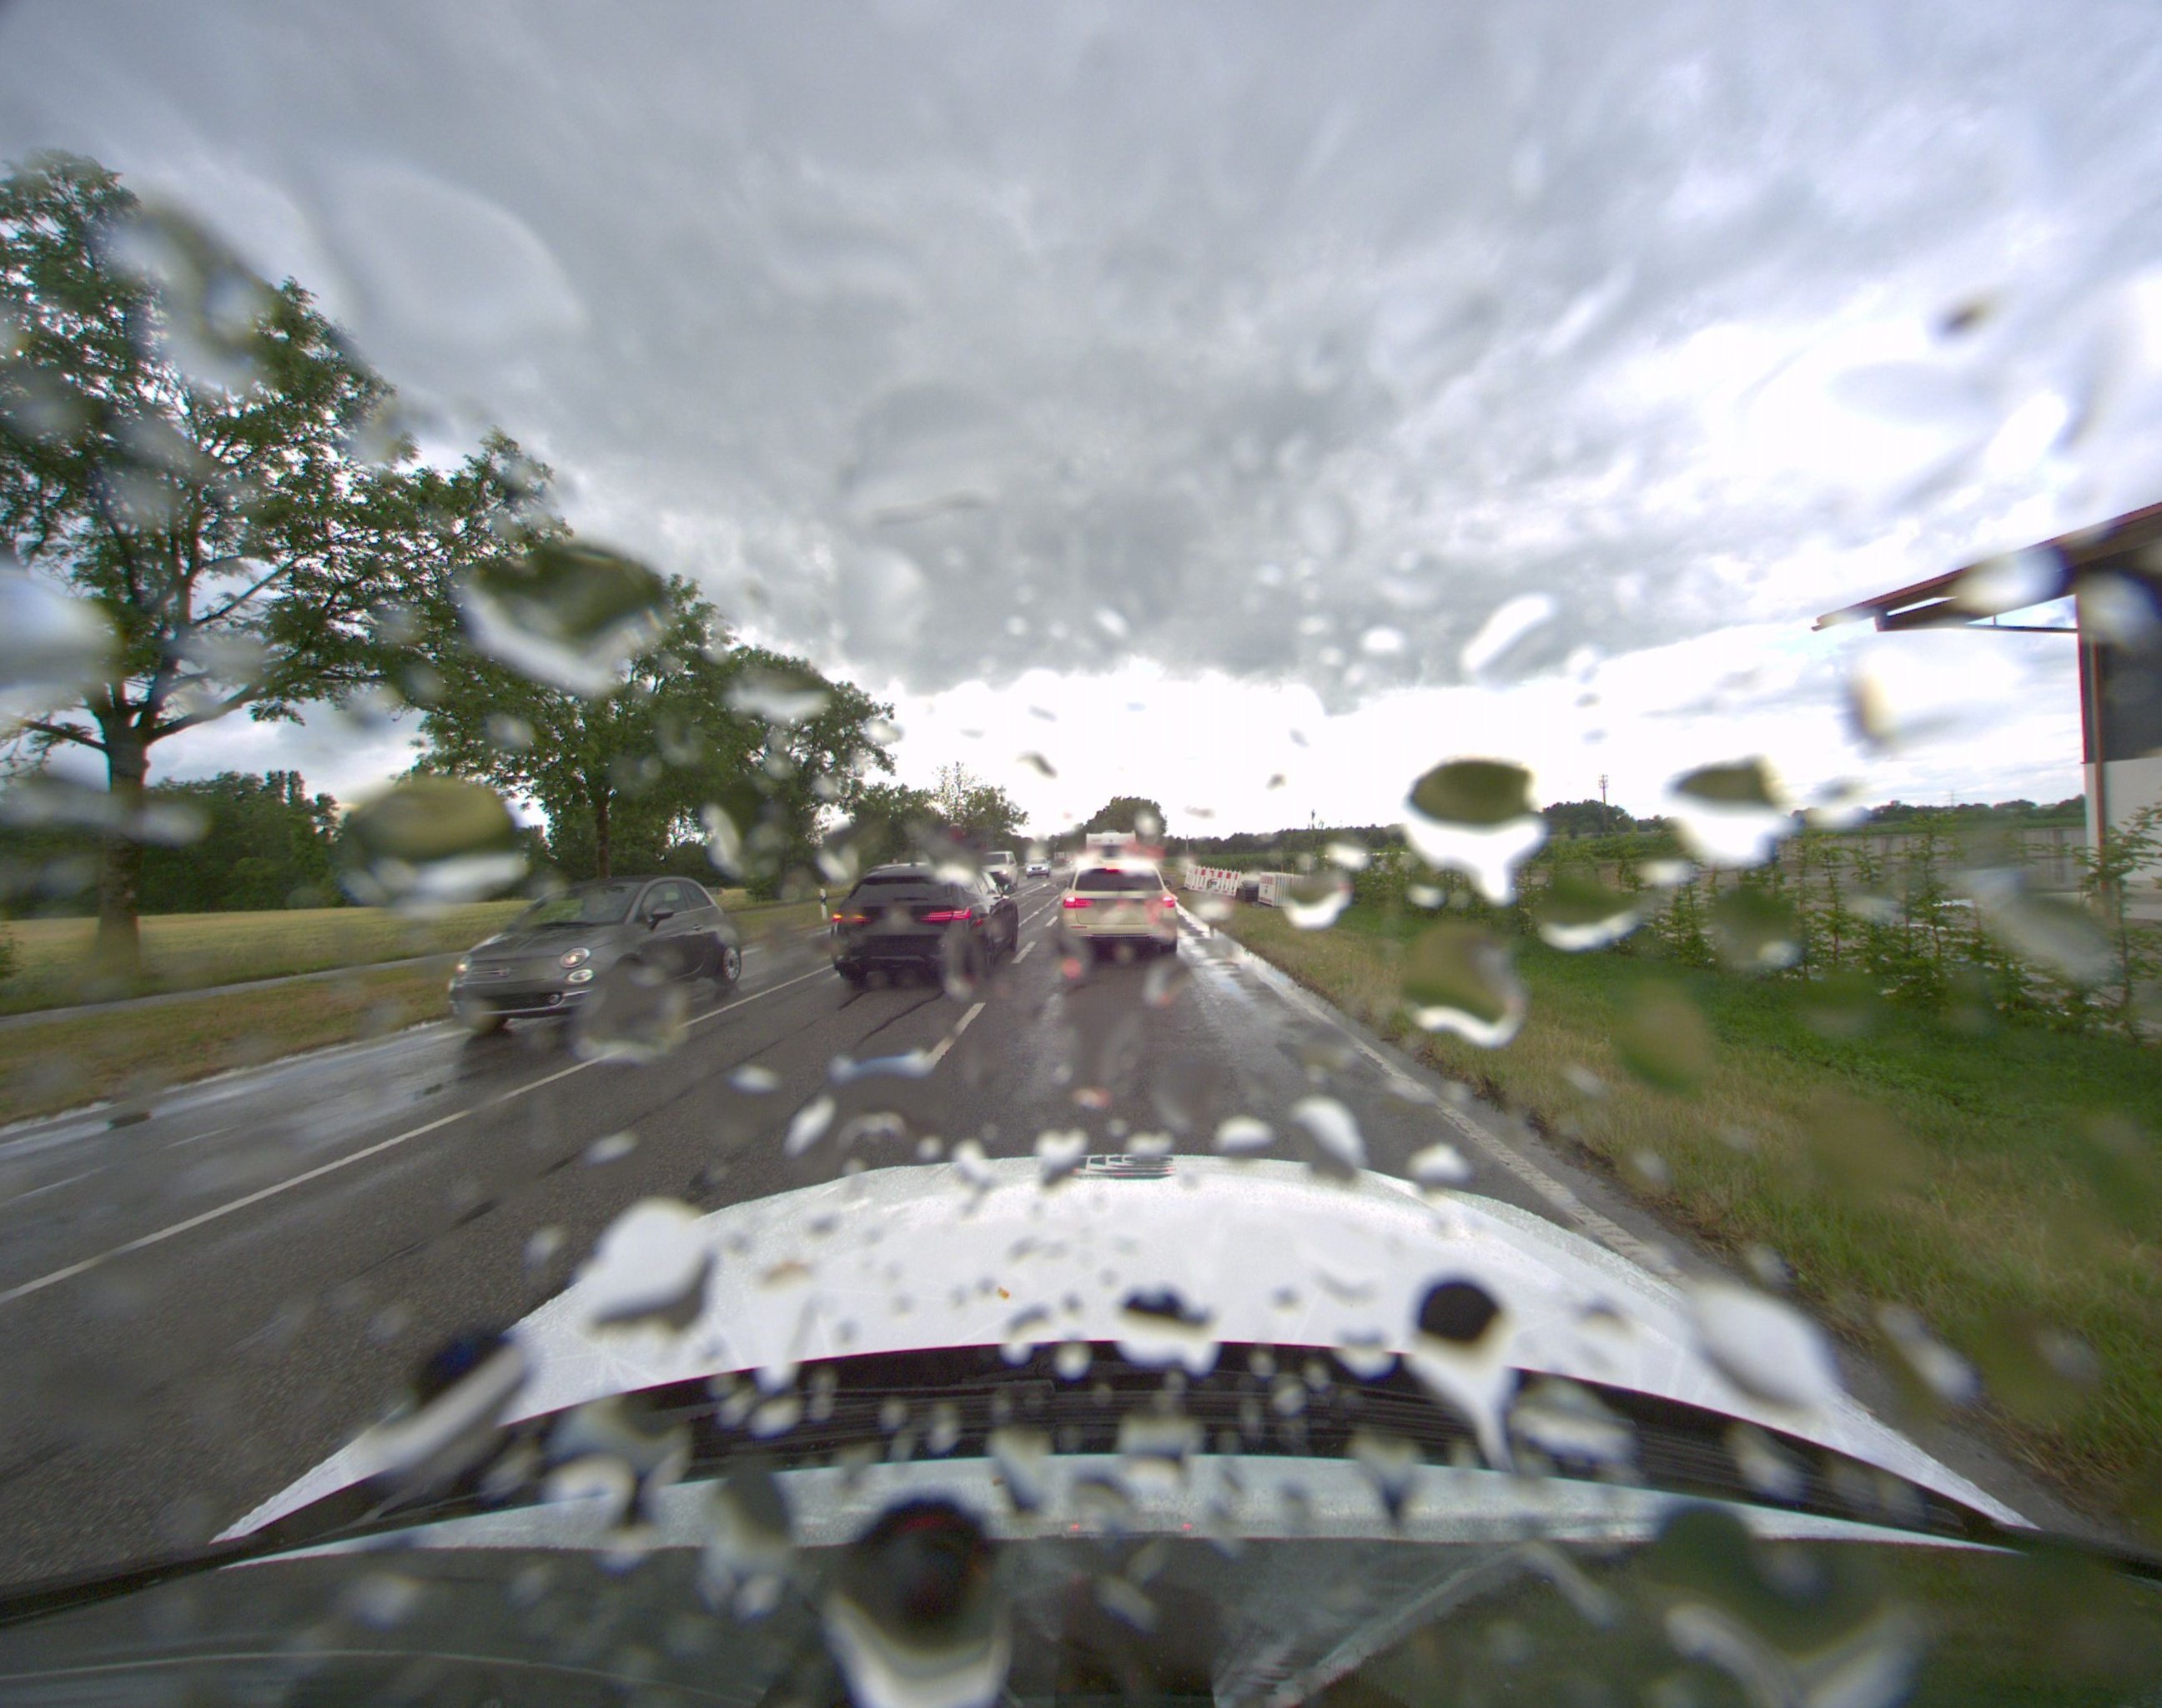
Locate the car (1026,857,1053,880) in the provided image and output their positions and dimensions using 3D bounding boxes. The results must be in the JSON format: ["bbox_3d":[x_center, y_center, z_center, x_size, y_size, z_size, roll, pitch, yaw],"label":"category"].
[{"bbox_3d":[-3.384,1.184,67.441,1.697,1.671,4.158,-4,0,2],"label":"car"}]

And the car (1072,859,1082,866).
[{"bbox_3d":[-0.829,1.688,163.454,1.714,1.404,4.044,-4,0,1],"label":"car"}]

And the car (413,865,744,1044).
[{"bbox_3d":[-5.353,0.958,9.212,1.495,1.530,3.303,-4,0,2],"label":"car"}]

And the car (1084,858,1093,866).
[{"bbox_3d":[1.931,2.012,207.348,1.891,1.895,3.840,-3,0,-2],"label":"car"}]

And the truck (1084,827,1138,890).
[{"bbox_3d":[1.452,0.208,40.561,2.355,2.729,7.316,-3,0,1],"label":"truck"}]

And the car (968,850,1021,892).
[{"bbox_3d":[-4.289,0.842,41.044,1.910,1.861,4.686,-4,-1,1],"label":"car"}]

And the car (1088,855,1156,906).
[{"bbox_3d":[1.268,0.797,25.952,1.986,1.462,4.001,0,-1,1],"label":"car"}]

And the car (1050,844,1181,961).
[{"bbox_3d":[0.542,0.702,13.545,1.836,1.618,4.001,-1,0,1],"label":"car"}]

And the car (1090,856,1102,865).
[{"bbox_3d":[2.876,1.254,156.216,1.989,1.772,3.996,-2,0,-3],"label":"car"}]

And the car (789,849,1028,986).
[{"bbox_3d":[-2.124,0.744,11.603,2.293,1.547,4.633,0,-1,1],"label":"car"}]
